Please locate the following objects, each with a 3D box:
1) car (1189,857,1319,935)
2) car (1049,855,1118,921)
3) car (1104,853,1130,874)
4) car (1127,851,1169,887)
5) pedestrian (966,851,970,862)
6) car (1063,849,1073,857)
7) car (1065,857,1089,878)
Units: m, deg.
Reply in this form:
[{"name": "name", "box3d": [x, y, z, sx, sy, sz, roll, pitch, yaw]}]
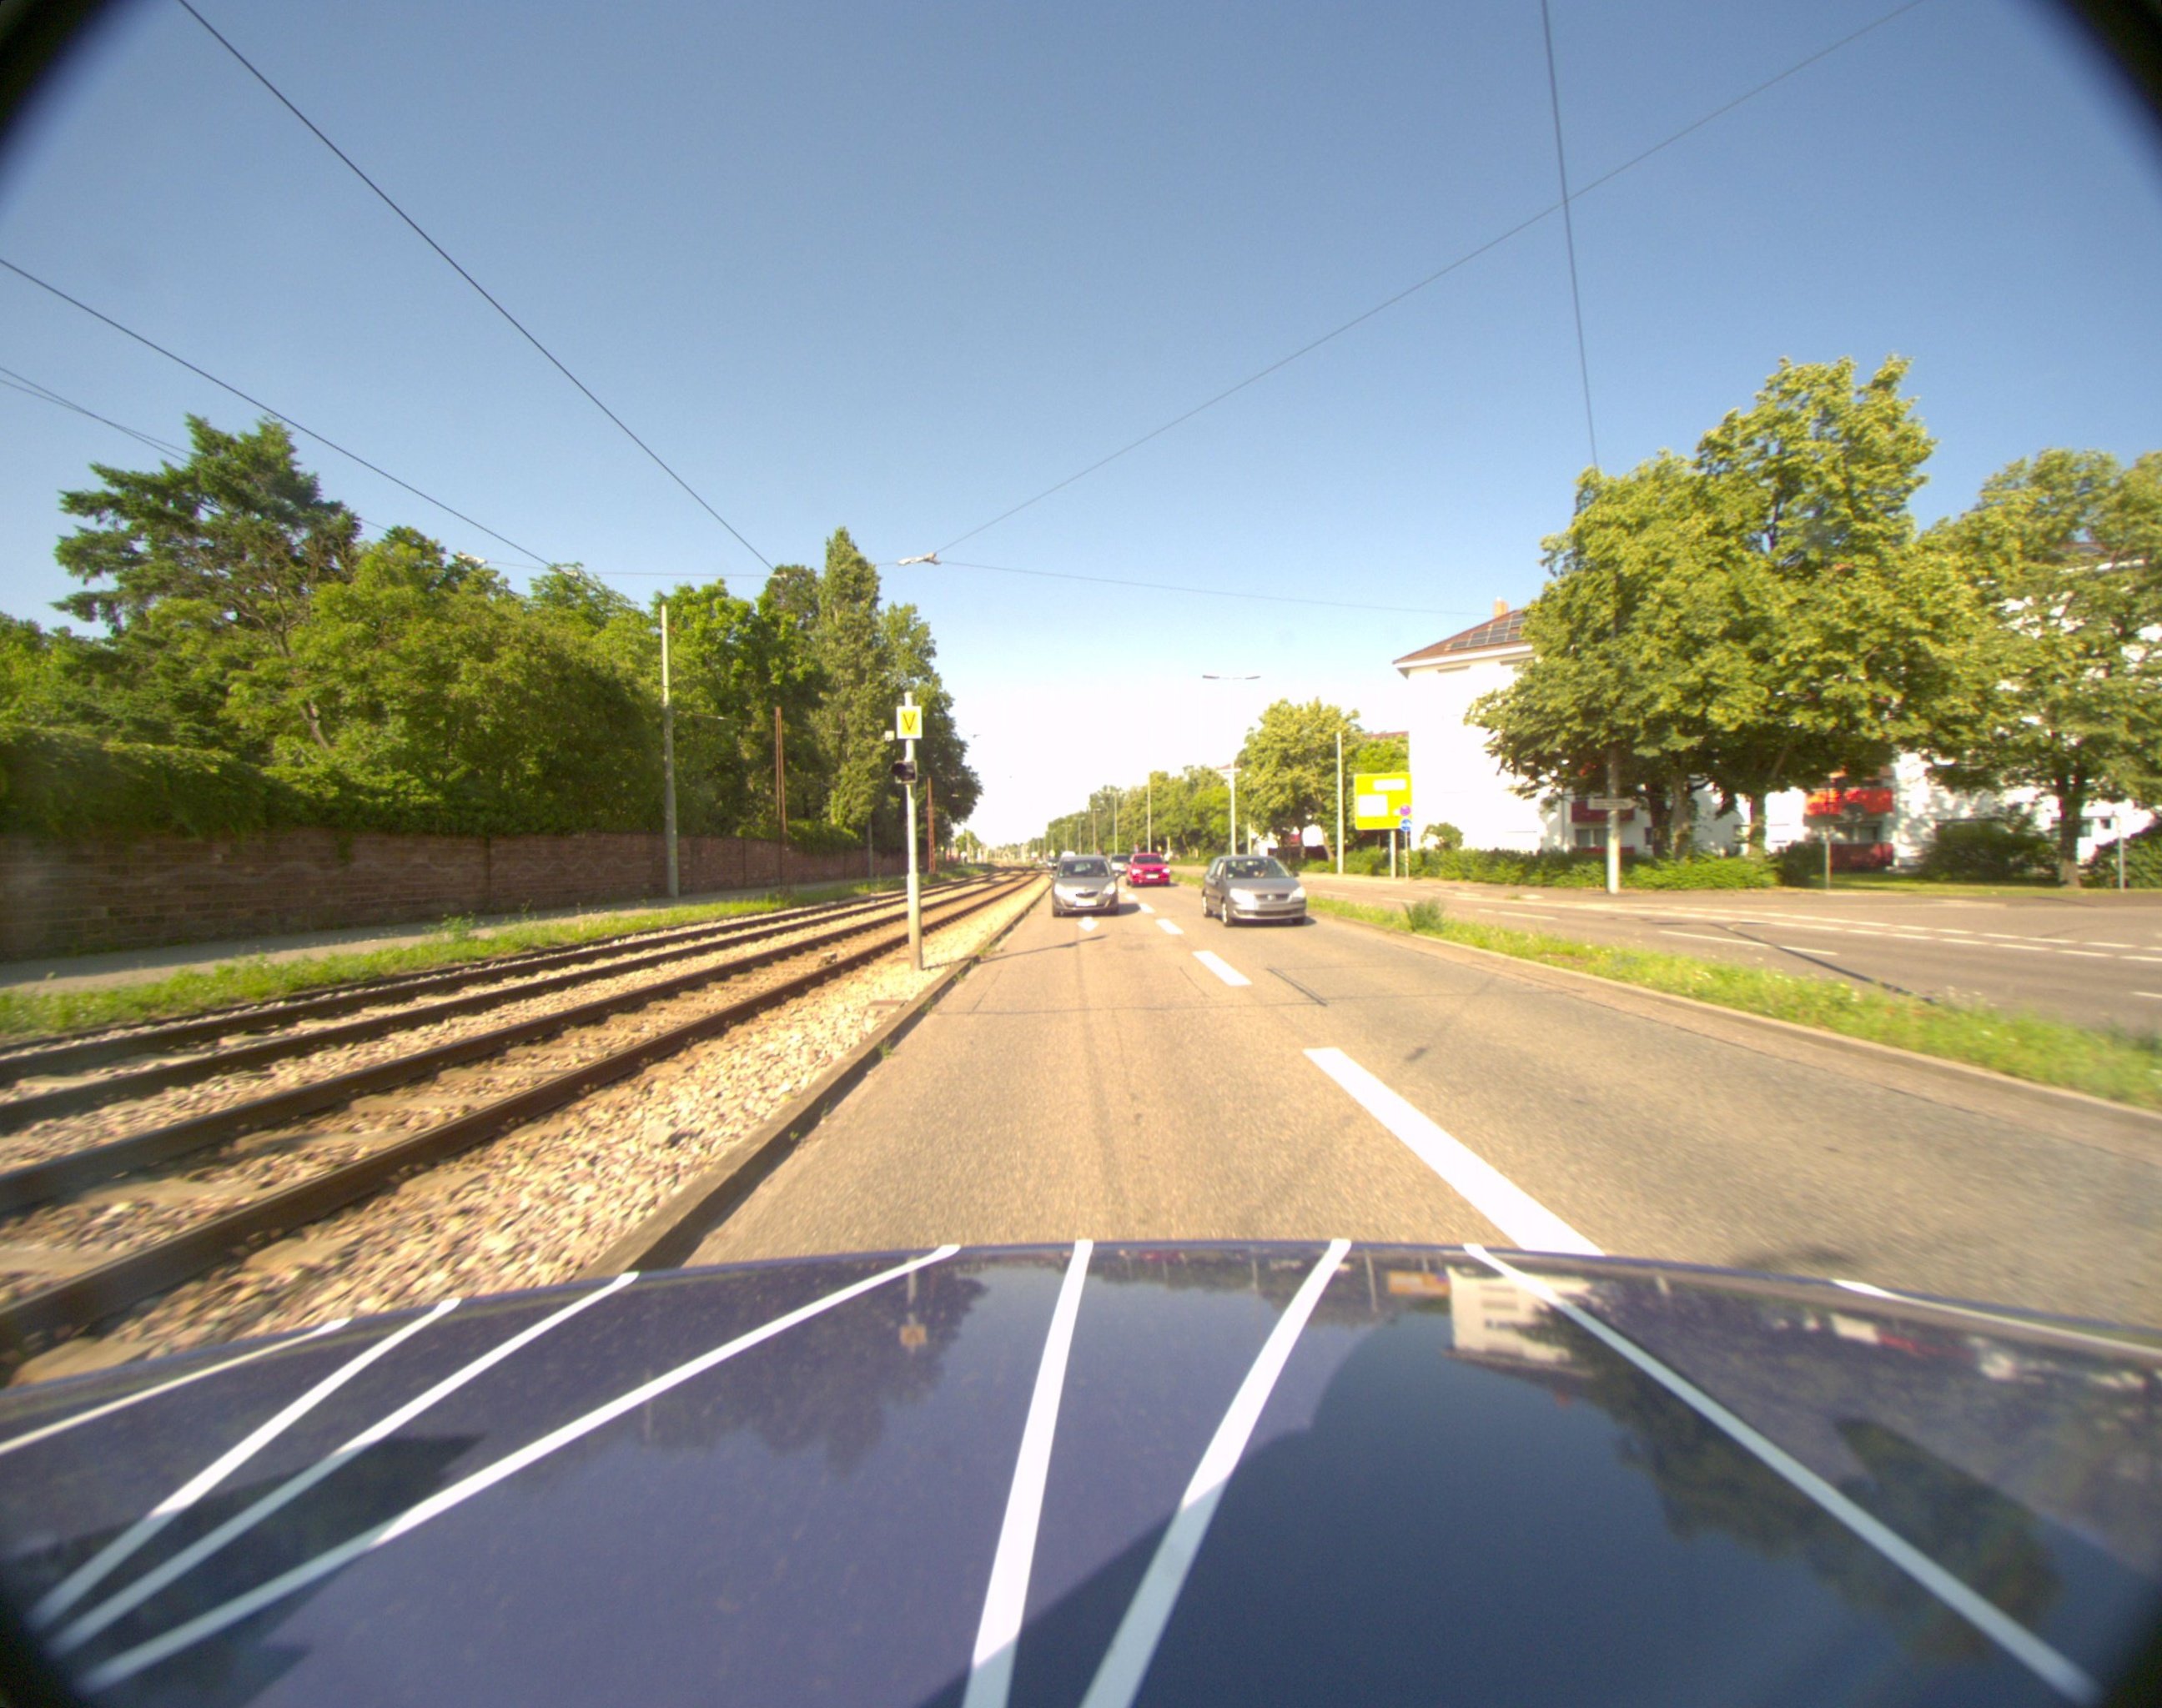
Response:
[{"name": "car", "box3d": [3.621, 0.819, 16.592, 1.693, 1.420, 3.831, -2, 0, -4]}, {"name": "car", "box3d": [0.078, 0.838, 20.748, 1.650, 1.581, 3.833, -2, 0, 0]}, {"name": "car", "box3d": [2.711, 0.701, 57.856, 1.710, 1.513, 3.832, -2, 0, -2]}, {"name": "car", "box3d": [3.204, 0.684, 36.958, 1.692, 1.573, 3.833, -2, 0, 0]}, {"name": "pedestrian", "box3d": [-18.149, 0.353, 121.980, 0.501, 1.706, 0.885, 0, 0, 1]}, {"name": "car", "box3d": [-2.376, -0.195, 137.309, 1.710, 1.513, 3.832, -2, 0, -3]}, {"name": "car", "box3d": [-0.383, 1.057, 60.995, 1.710, 1.513, 3.832, -2, 0, -3]}]
